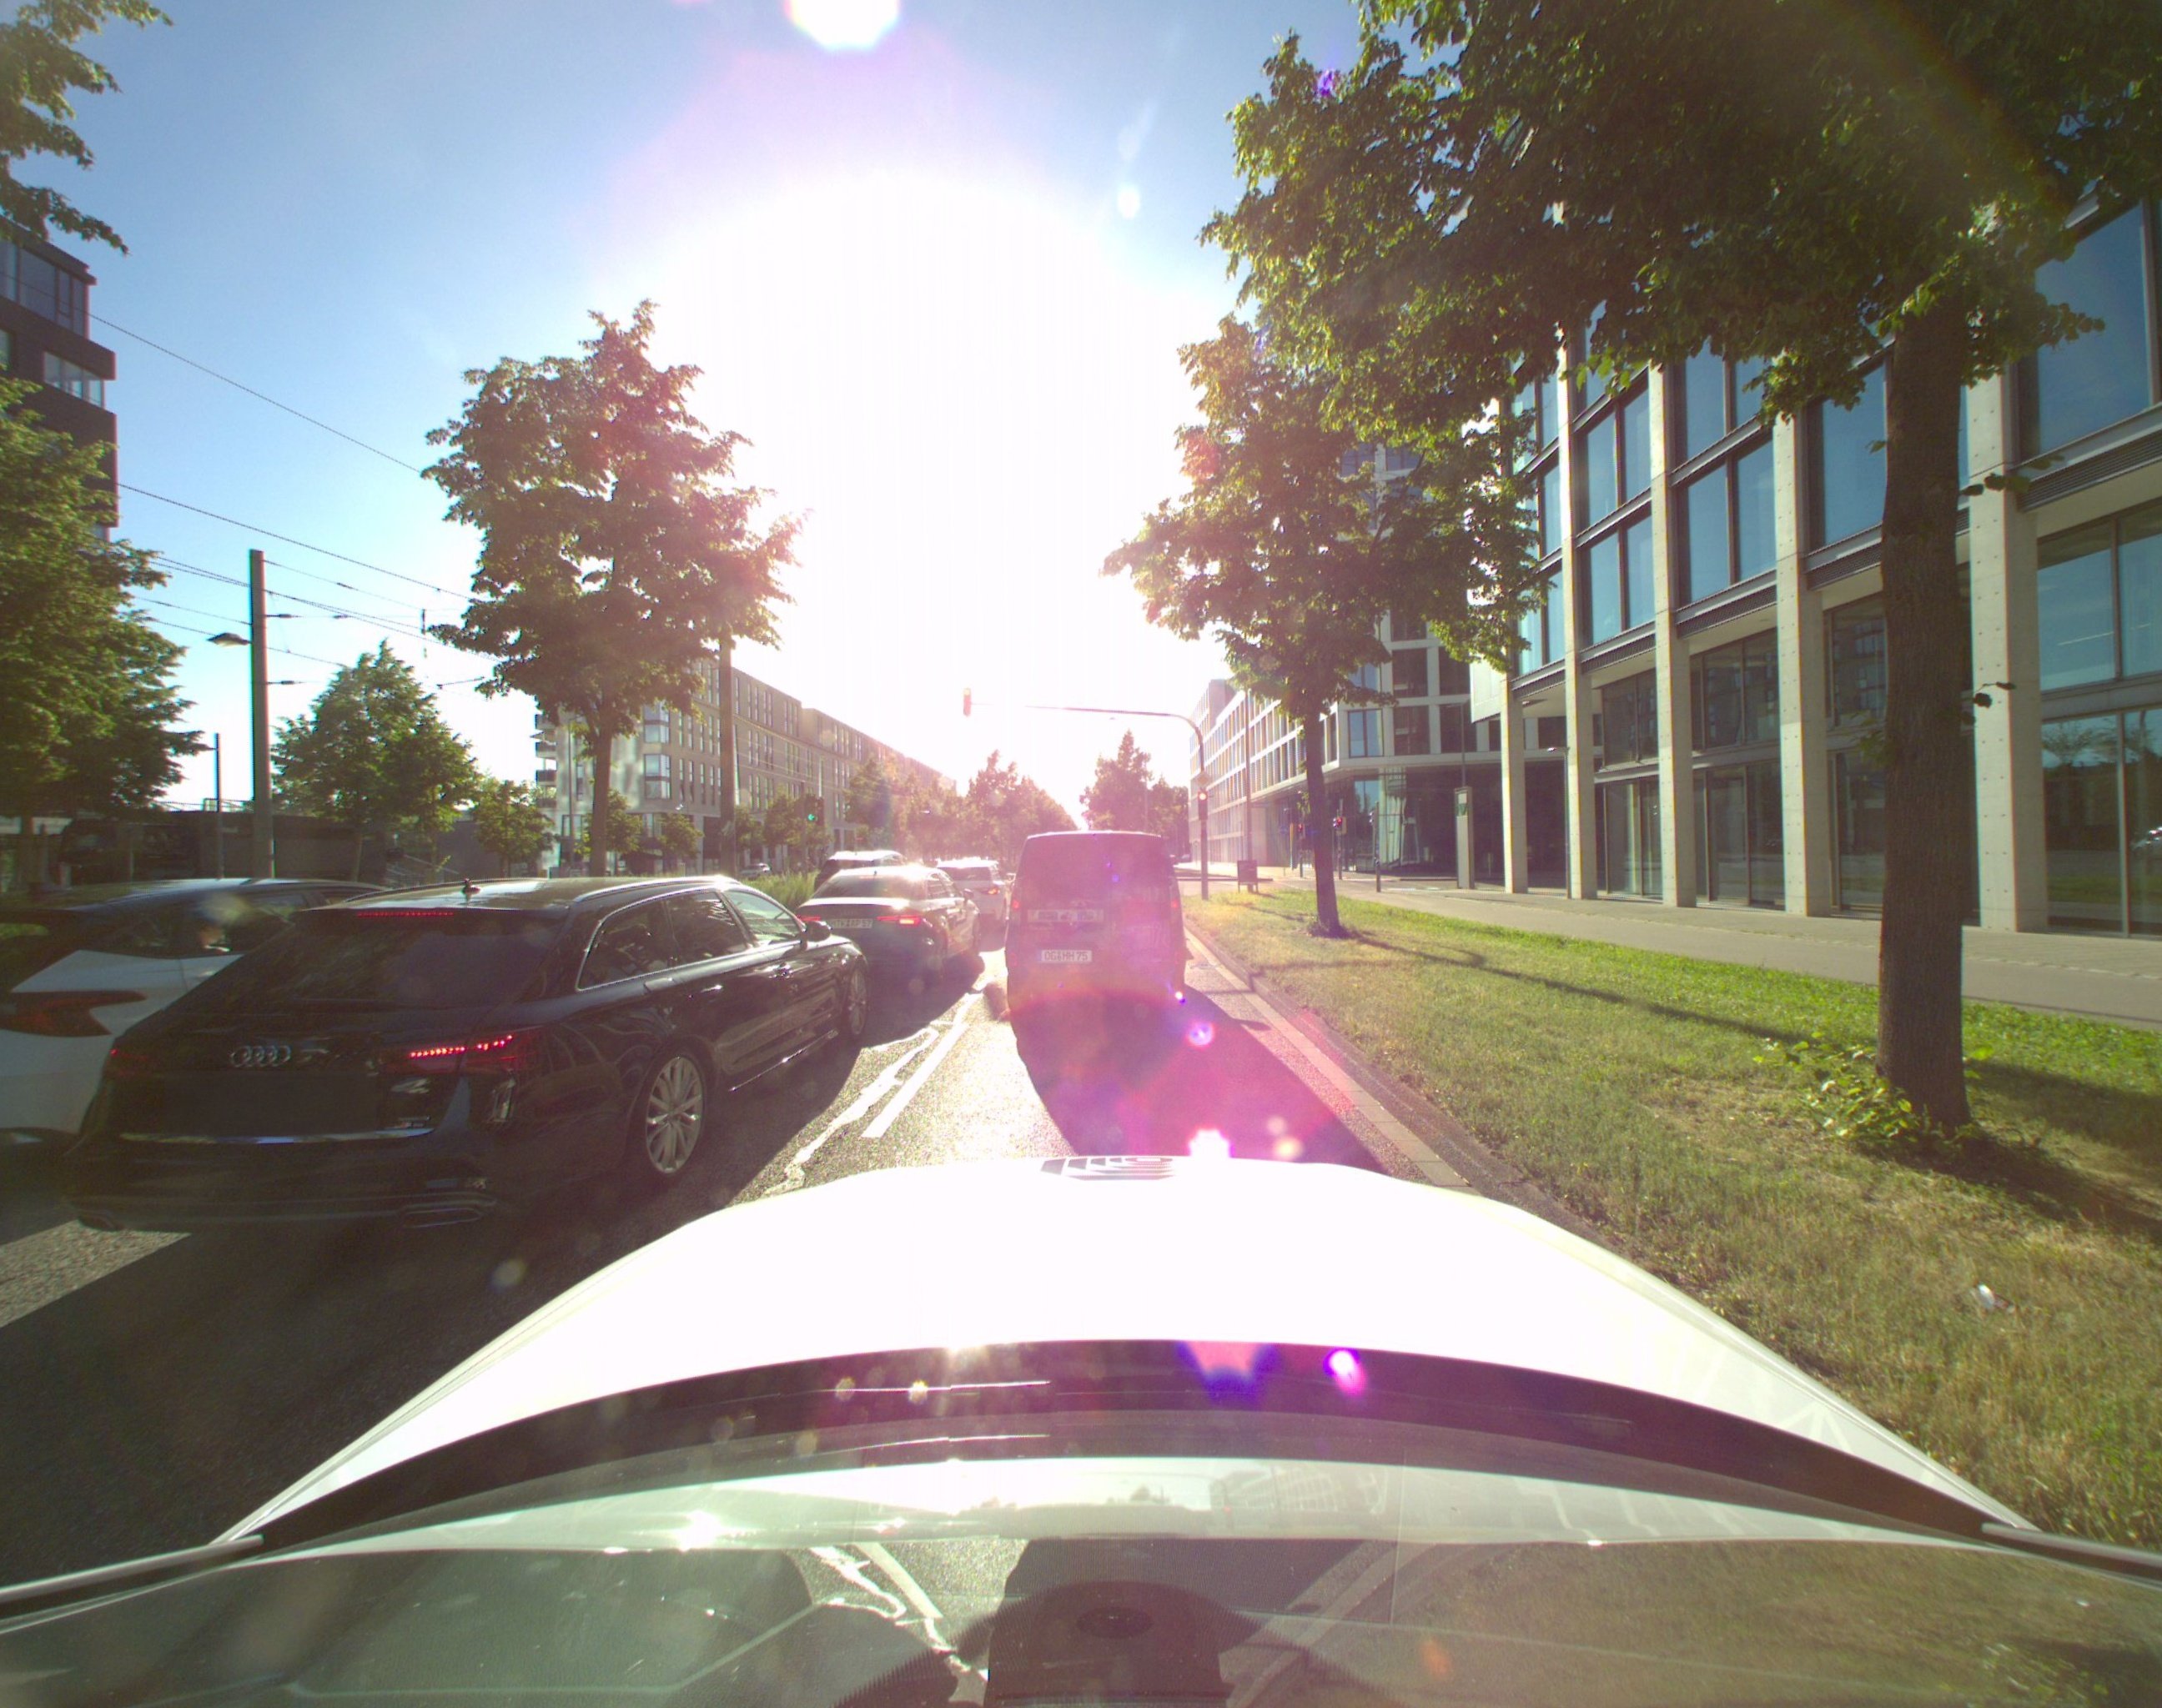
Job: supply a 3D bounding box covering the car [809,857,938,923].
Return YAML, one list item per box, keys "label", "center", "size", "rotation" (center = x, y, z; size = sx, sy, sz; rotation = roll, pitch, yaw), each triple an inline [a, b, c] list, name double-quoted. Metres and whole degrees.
- label: "car"
  center: [-4.966, 0.810, 20.218]
  size: [1.791, 1.447, 4.572]
  rotation: [0, 0, 3]

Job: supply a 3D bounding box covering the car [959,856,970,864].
- label: "car"
  center: [-28.631, 1.410, 200.192]
  size: [1.986, 2.013, 4.002]
  rotation: [-1, 0, 2]

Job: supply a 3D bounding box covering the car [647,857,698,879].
- label: "car"
  center: [-31.054, 1.036, 62.082]
  size: [1.758, 1.520, 4.002]
  rotation: [-1, 0, 2]

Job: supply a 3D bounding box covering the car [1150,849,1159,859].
- label: "car"
  center: [17.871, 0.016, 198.193]
  size: [1.986, 2.497, 4.988]
  rotation: [-1, 0, 2]

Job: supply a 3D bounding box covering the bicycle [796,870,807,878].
- label: "bicycle"
  center: [-36.429, 2.584, 106.075]
  size: [0.674, 0.988, 1.957]
  rotation: [-1, 0, 2]

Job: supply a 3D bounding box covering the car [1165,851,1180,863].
- label: "car"
  center: [14.312, 0.424, 127.907]
  size: [1.986, 1.782, 4.002]
  rotation: [-1, 0, 2]

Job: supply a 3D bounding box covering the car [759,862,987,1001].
- label: "car"
  center: [-2.516, 0.869, 11.030]
  size: [1.835, 1.426, 4.340]
  rotation: [-1, 0, 2]

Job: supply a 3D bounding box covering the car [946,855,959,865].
- label: "car"
  center: [-28.920, 1.316, 183.373]
  size: [1.986, 2.013, 4.002]
  rotation: [-1, 0, 2]

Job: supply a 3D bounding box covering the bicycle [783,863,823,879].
- label: "bicycle"
  center: [-22.502, 1.383, 65.863]
  size: [2.934, 1.190, 0.817]
  rotation: [-1, 0, -2]

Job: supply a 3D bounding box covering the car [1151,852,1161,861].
- label: "car"
  center: [16.488, 0.535, 179.692]
  size: [1.986, 1.782, 4.002]
  rotation: [-1, 0, 2]

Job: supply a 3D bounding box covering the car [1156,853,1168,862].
- label: "car"
  center: [15.948, 0.624, 160.490]
  size: [1.986, 1.782, 4.002]
  rotation: [-1, 0, 2]

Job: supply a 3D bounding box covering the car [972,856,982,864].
- label: "car"
  center: [-27.922, 1.516, 218.205]
  size: [1.986, 2.013, 4.002]
  rotation: [-1, 0, 2]

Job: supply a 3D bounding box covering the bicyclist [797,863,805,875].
- label: "bicyclist"
  center: [-36.451, 1.994, 105.989]
  size: [0.674, 1.529, 0.714]
  rotation: [-1, 0, 1]

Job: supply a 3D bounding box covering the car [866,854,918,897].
- label: "car"
  center: [-7.544, 0.803, 32.215]
  size: [1.802, 1.483, 4.545]
  rotation: [2, 0, -15]

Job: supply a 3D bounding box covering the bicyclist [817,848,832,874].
- label: "bicyclist"
  center: [-20.309, 0.553, 64.530]
  size: [0.938, 2.092, 0.816]
  rotation: [-1, 0, -5]

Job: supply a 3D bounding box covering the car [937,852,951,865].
- label: "car"
  center: [-28.453, 0.954, 169.299]
  size: [1.986, 2.607, 4.002]
  rotation: [-1, 0, 2]

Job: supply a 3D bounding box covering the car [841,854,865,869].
- label: "car"
  center: [-30.894, 0.982, 110.603]
  size: [1.986, 2.013, 4.002]
  rotation: [-1, 0, 2]

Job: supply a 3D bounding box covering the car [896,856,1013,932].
- label: "car"
  center: [-2.621, 0.786, 17.753]
  size: [1.797, 1.426, 3.902]
  rotation: [-1, 0, 2]

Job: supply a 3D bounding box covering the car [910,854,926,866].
- label: "car"
  center: [-30.123, 1.122, 150.293]
  size: [1.986, 2.013, 4.002]
  rotation: [-1, 0, 2]

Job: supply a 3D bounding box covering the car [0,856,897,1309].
- label: "car"
  center: [-2.736, 0.787, 5.269]
  size: [1.868, 1.484, 4.967]
  rotation: [-1, 0, 1]

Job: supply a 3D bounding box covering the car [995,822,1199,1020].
- label: "car"
  center: [0.209, 0.611, 9.444]
  size: [1.835, 1.780, 4.002]
  rotation: [-1, 0, 2]

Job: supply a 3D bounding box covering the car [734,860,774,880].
- label: "car"
  center: [-31.809, 1.531, 79.254]
  size: [1.986, 1.814, 4.372]
  rotation: [-1, 0, 2]

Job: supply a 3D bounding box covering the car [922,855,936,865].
- label: "car"
  center: [-29.712, 1.177, 159.390]
  size: [1.986, 2.013, 4.002]
  rotation: [-1, 0, 2]

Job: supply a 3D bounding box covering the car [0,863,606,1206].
- label: "car"
  center: [-5.615, 0.836, 5.827]
  size: [1.794, 1.447, 4.566]
  rotation: [-1, 0, -1]

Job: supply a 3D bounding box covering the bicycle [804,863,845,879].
- label: "bicycle"
  center: [-20.285, 1.322, 64.515]
  size: [2.937, 1.190, 0.816]
  rotation: [-1, 0, -5]

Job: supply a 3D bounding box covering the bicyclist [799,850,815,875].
- label: "bicyclist"
  center: [-22.186, 0.674, 65.893]
  size: [0.996, 1.947, 0.817]
  rotation: [-1, 0, -1]

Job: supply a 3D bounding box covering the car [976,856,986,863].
- label: "car"
  center: [-27.465, 1.554, 223.822]
  size: [1.986, 2.013, 4.002]
  rotation: [-1, 0, 2]

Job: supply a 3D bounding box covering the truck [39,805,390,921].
- label: "truck"
  center: [-33.637, 0.289, 32.655]
  size: [2.880, 3.853, 10.217]
  rotation: [-1, 0, 2]
